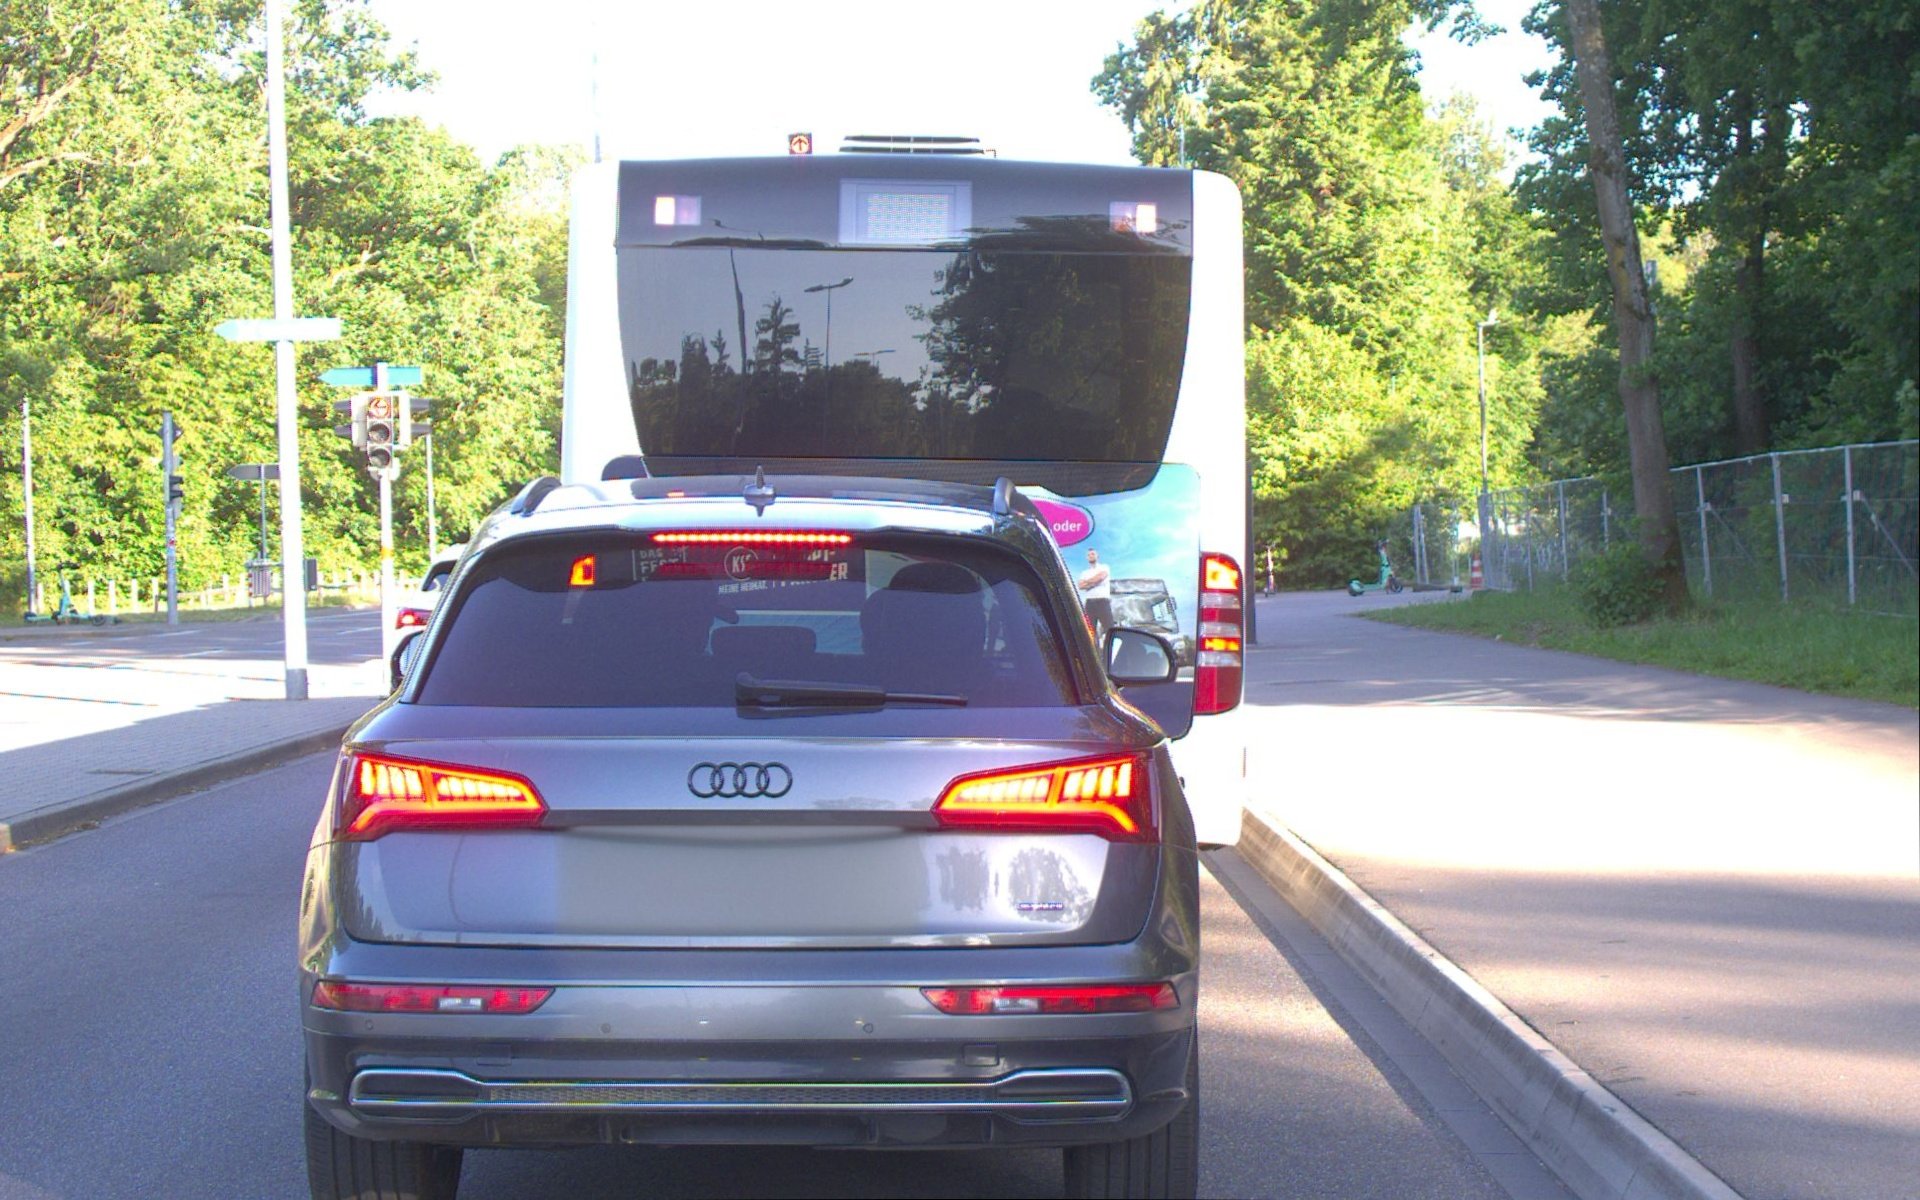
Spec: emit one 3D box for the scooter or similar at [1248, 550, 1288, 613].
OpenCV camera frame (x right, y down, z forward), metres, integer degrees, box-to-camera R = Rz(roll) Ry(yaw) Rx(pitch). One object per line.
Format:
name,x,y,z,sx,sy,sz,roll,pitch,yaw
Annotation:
scooter or similar,7.224,-0.451,80.663,0.508,1.439,2.023,-2,1,-6

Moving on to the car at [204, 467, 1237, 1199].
car,-0.467,0.539,8.358,1.898,1.626,4.000,0,1,-1

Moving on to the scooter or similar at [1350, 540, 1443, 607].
scooter or similar,9.897,-0.603,77.934,2.015,1.439,0.606,-2,1,-25

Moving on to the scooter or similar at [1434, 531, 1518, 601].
scooter or similar,11.884,-0.785,79.227,0.539,1.562,2.022,-3,1,-40

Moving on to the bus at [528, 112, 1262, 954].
bus,-0.284,-0.273,16.847,2.594,2.978,9.327,0,0,-1

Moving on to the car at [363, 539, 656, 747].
car,-3.518,0.282,27.505,1.836,1.513,4.000,-1,1,-1
